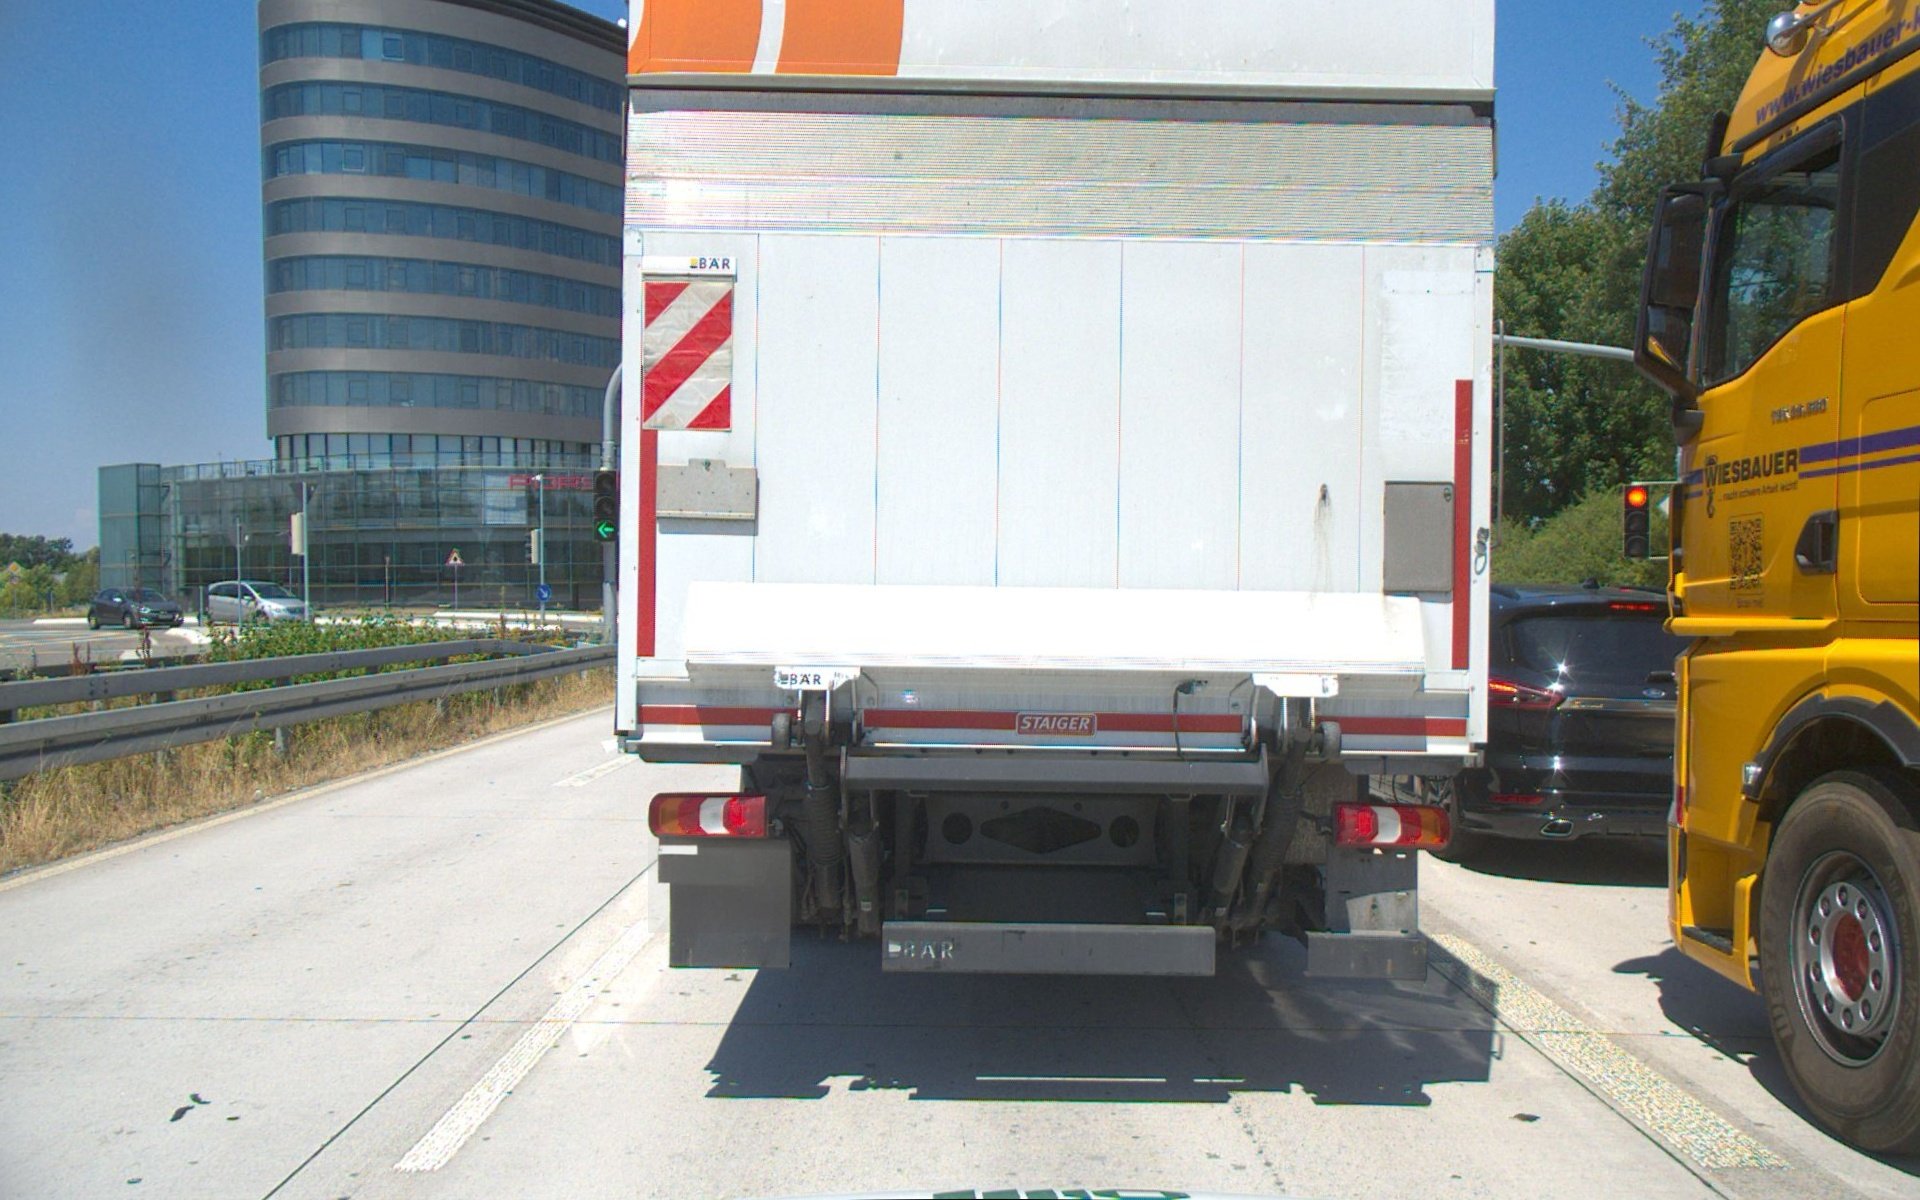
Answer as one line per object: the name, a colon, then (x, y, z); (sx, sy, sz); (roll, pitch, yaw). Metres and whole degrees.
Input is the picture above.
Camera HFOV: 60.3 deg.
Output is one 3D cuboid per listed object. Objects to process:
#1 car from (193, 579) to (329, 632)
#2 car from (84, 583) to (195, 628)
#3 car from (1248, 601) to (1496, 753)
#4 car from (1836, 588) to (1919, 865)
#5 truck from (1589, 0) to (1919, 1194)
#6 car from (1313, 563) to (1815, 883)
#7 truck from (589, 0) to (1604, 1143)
car: (-22.642, 0.202, 53.568); (4.231, 1.623, 1.775); (-1, -2, 27)
car: (-28.766, 0.220, 57.928); (4.241, 1.482, 1.691); (-2, -2, 35)
car: (4.386, 0.753, 18.301); (1.731, 1.435, 4.611); (1, 0, 2)
car: (7.341, 0.850, 9.576); (1.733, 1.839, 4.788); (1, 0, -4)
truck: (3.959, -0.415, 2.458); (2.953, 3.838, 7.466); (1, 0, -2)
car: (3.708, 0.661, 11.121); (1.747, 1.668, 4.648); (1, 0, 1)
truck: (0.324, -0.489, 9.173); (2.713, 3.927, 9.368); (1, 0, -1)
